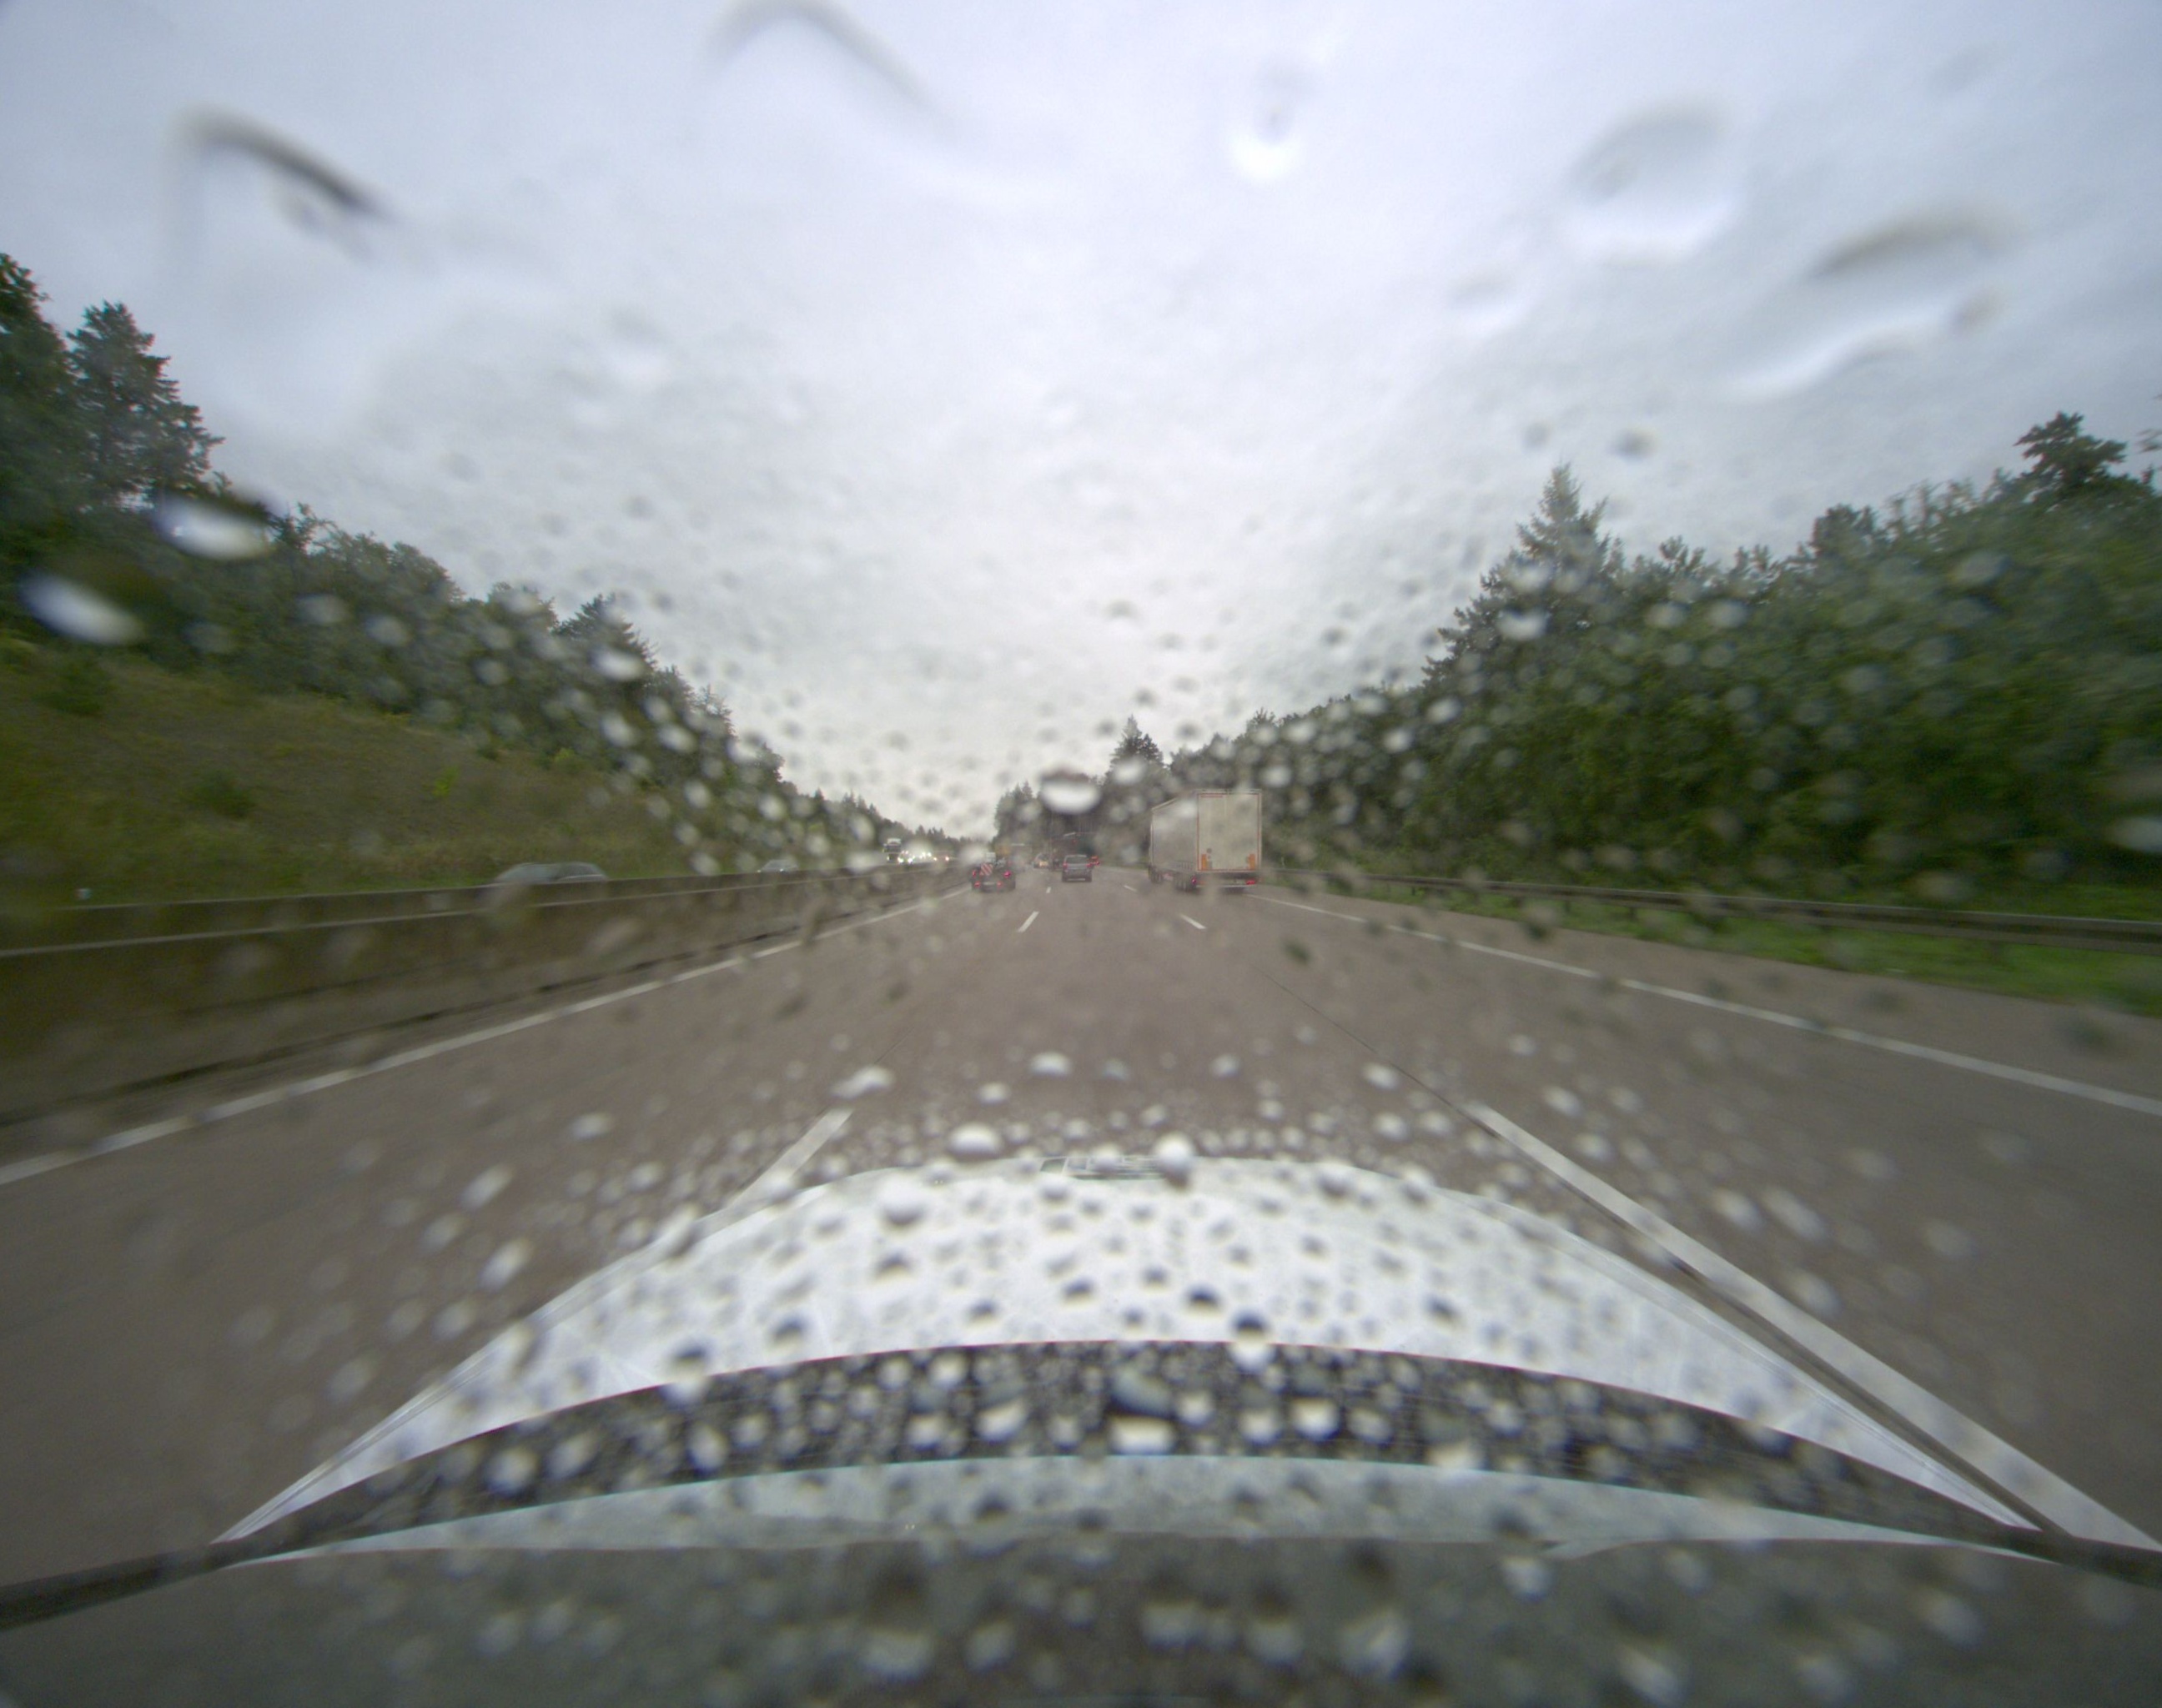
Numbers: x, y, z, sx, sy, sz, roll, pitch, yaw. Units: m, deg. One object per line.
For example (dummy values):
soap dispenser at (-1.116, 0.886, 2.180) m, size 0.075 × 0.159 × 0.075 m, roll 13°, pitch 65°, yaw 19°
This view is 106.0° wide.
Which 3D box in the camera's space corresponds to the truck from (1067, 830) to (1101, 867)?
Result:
truck at (0.260, -0.626, 95.700) m, size 3.361 × 4.131 × 10.427 m, roll -1°, pitch 0°, yaw -3°

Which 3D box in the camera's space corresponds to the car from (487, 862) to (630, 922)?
car at (-15.906, 1.098, 25.081) m, size 1.771 × 1.638 × 4.000 m, roll -1°, pitch 0°, yaw 0°

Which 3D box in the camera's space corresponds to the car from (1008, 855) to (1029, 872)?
car at (-5.605, 0.802, 73.222) m, size 1.679 × 1.462 × 3.681 m, roll 1°, pitch 0°, yaw -2°

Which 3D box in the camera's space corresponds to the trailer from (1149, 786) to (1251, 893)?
trailer at (5.095, -0.563, 37.416) m, size 2.414 × 4.068 × 12.043 m, roll -1°, pitch 0°, yaw -2°

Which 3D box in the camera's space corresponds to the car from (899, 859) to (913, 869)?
car at (-26.246, 1.485, 122.086) m, size 1.620 × 1.393 × 3.992 m, roll -1°, pitch 0°, yaw -6°

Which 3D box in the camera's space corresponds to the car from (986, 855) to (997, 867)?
car at (-15.511, 1.184, 141.247) m, size 1.726 × 2.014 × 3.643 m, roll -1°, pitch -1°, yaw -10°

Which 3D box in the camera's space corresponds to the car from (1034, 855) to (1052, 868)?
car at (-4.445, 0.829, 95.096) m, size 1.876 × 1.473 × 3.999 m, roll 1°, pitch 0°, yaw 0°

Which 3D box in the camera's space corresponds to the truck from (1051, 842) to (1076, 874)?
truck at (-1.781, 0.325, 80.442) m, size 2.264 × 2.886 × 7.895 m, roll -1°, pitch 1°, yaw -3°

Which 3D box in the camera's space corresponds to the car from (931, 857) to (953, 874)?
car at (-17.672, 1.443, 103.723) m, size 1.989 × 2.082 × 5.326 m, roll -1°, pitch 0°, yaw -3°

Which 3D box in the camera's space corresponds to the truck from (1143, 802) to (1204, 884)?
truck at (4.837, -0.542, 43.356) m, size 2.414 × 4.068 × 4.974 m, roll -1°, pitch 0°, yaw -2°

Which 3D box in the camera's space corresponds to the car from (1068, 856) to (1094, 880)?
car at (-0.023, 0.799, 49.183) m, size 1.549 × 1.351 × 3.682 m, roll 1°, pitch 0°, yaw -1°

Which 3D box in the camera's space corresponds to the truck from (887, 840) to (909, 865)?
truck at (-32.347, -0.192, 143.915) m, size 2.742 × 4.284 × 8.296 m, roll -1°, pitch 0°, yaw -6°

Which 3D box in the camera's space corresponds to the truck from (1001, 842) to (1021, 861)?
truck at (-16.101, -0.575, 186.724) m, size 3.740 × 4.210 × 6.794 m, roll -1°, pitch -1°, yaw -10°

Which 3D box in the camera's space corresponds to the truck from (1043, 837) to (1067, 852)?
truck at (-4.166, -1.474, 129.344) m, size 2.974 × 2.309 × 6.647 m, roll 1°, pitch 0°, yaw -9°

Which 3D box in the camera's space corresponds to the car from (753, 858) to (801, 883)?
car at (-21.084, 1.087, 56.633) m, size 1.771 × 1.638 × 4.252 m, roll -1°, pitch 0°, yaw 0°

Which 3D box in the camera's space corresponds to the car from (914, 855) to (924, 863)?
car at (-31.661, 0.941, 158.933) m, size 1.620 × 1.393 × 3.990 m, roll -1°, pitch 0°, yaw -7°

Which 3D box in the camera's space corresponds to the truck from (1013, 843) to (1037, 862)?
truck at (-9.153, -0.223, 131.632) m, size 3.082 × 2.905 × 7.877 m, roll -1°, pitch 1°, yaw -10°
